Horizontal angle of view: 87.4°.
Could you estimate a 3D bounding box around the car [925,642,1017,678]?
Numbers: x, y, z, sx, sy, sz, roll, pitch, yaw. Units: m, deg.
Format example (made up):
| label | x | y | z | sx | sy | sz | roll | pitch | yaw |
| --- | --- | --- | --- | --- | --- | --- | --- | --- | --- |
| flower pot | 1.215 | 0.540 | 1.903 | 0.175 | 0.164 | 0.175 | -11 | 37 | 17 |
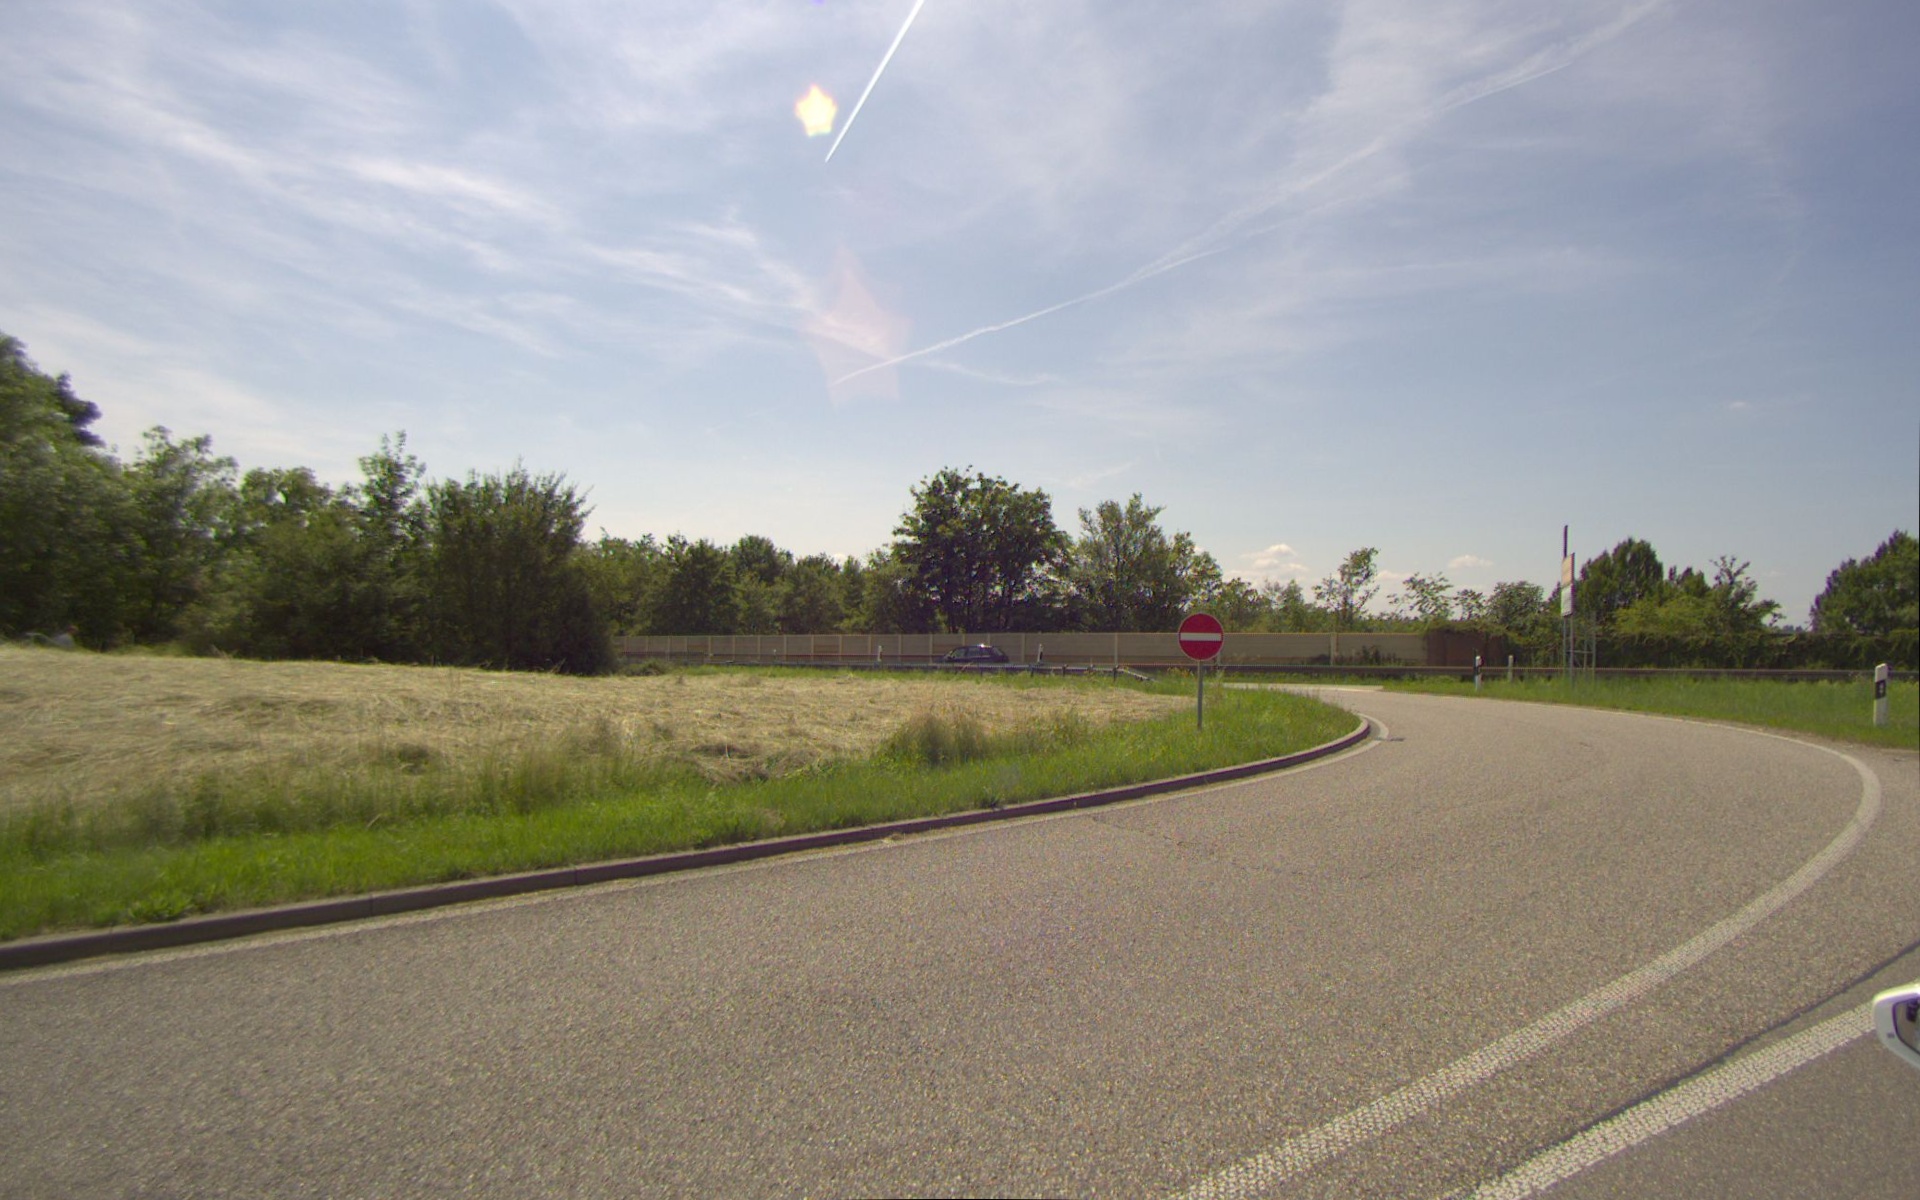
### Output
| label | x | y | z | sx | sy | sz | roll | pitch | yaw |
| --- | --- | --- | --- | --- | --- | --- | --- | --- | --- |
| car | 0.510 | 2.800 | 47.426 | 4.033 | 1.559 | 1.752 | -1 | -2 | 29 |
